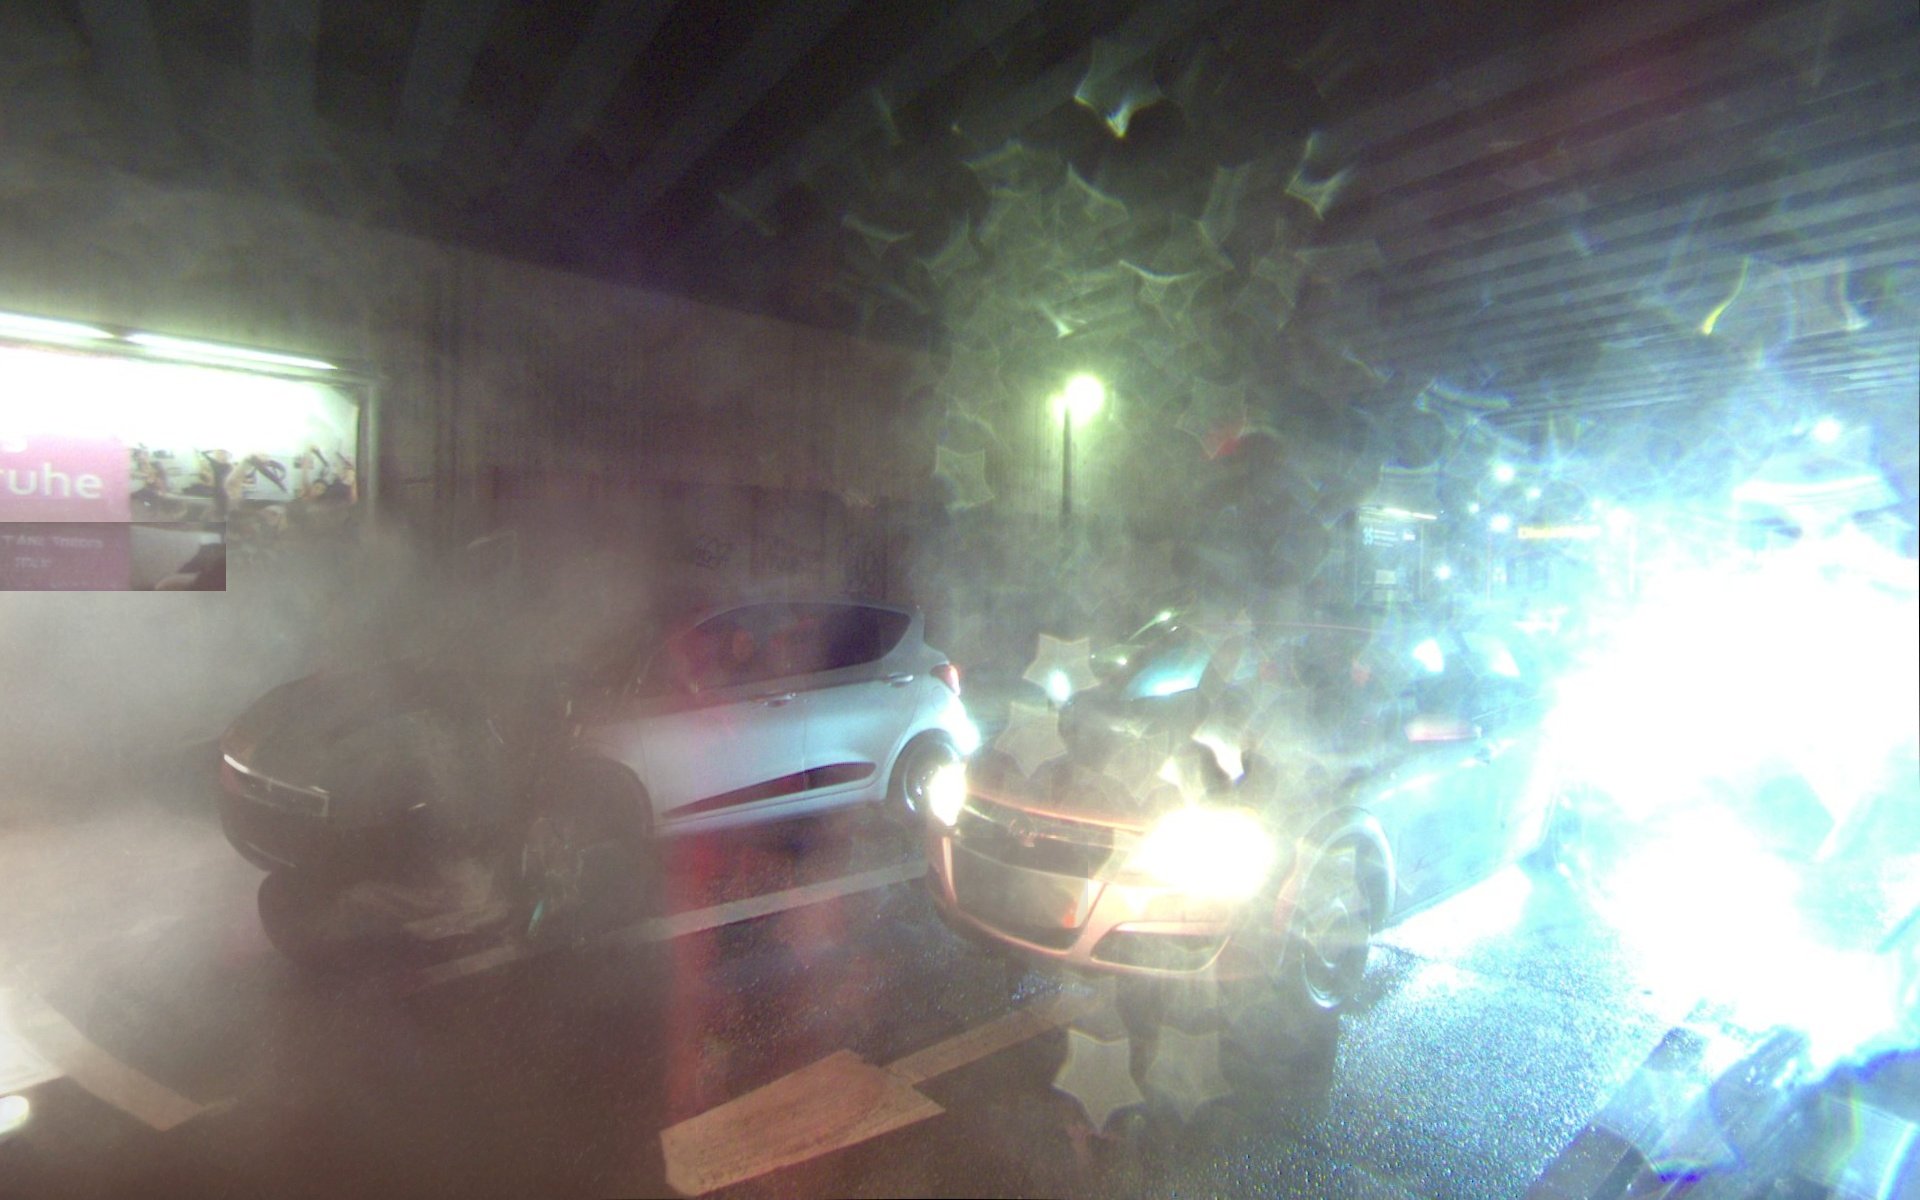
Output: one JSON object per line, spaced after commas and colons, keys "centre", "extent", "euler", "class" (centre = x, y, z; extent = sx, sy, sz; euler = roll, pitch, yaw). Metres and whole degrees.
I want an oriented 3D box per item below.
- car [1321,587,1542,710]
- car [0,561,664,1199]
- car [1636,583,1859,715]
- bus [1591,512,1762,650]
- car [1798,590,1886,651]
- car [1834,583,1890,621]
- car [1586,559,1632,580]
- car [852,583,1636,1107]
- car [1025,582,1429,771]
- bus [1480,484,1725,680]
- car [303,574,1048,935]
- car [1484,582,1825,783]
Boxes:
{"centre": [7.146, 0.606, 15.130], "extent": [1.721, 1.505, 4.096], "euler": [3, 3, 44], "class": "car"}
{"centre": [-2.692, 0.690, 0.977], "extent": [4.308, 1.464, 1.723], "euler": [-1, 3, -42], "class": "car"}
{"centre": [10.780, 0.538, 13.758], "extent": [3.906, 1.481, 1.696], "euler": [-1, 3, -42], "class": "car"}
{"centre": [20.450, -0.549, 28.564], "extent": [2.733, 3.278, 9.551], "euler": [1, 1, 43], "class": "bus"}
{"centre": [24.831, 0.514, 28.454], "extent": [1.720, 1.505, 4.098], "euler": [3, 3, 42], "class": "car"}
{"centre": [39.615, 0.042, 44.429], "extent": [1.720, 1.505, 4.098], "euler": [3, 3, 42], "class": "car"}
{"centre": [46.340, -2.152, 72.321], "extent": [1.685, 1.407, 3.979], "euler": [0, 1, 17], "class": "car"}
{"centre": [1.645, 0.659, 4.869], "extent": [4.091, 1.464, 1.723], "euler": [-1, 2, -42], "class": "car"}
{"centre": [2.931, 0.584, 10.417], "extent": [4.705, 1.505, 1.723], "euler": [-1, 2, -42], "class": "car"}
{"centre": [14.004, -0.399, 21.566], "extent": [2.733, 3.318, 9.550], "euler": [1, 1, 43], "class": "bus"}
{"centre": [-1.496, 0.610, 6.244], "extent": [4.091, 1.464, 1.723], "euler": [-1, 3, -42], "class": "car"}
{"centre": [6.722, 0.627, 9.624], "extent": [4.091, 1.506, 1.722], "euler": [-1, -2, -42], "class": "car"}
